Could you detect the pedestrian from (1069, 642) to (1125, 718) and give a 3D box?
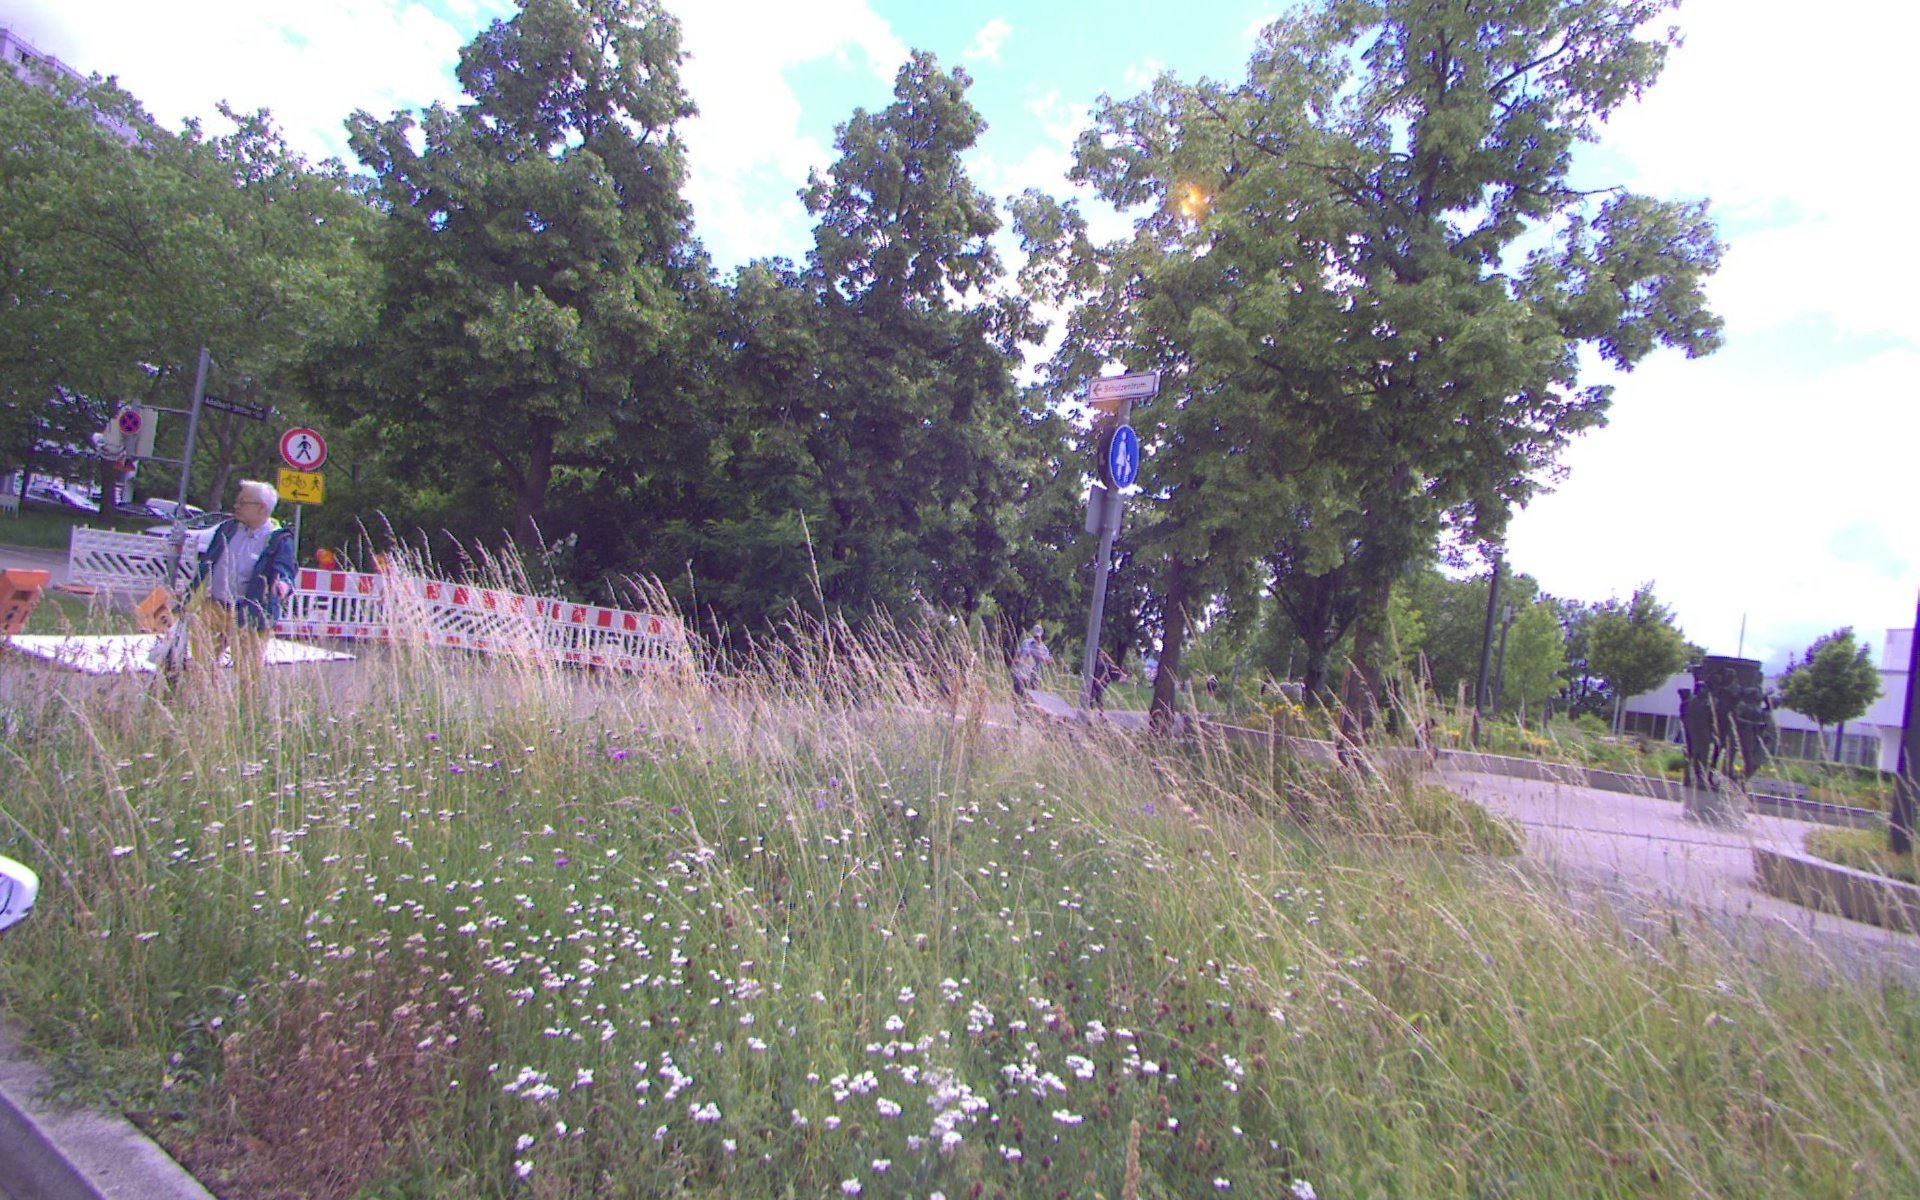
[{"bbox_3d":[3.259,1.904,23.903,0.879,1.647,0.817,8,-1,30],"label":"pedestrian"}]

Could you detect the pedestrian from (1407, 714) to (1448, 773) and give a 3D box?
[{"bbox_3d":[10.767,3.302,23.158,0.623,1.236,0.618,7,-1,36],"label":"pedestrian"}]

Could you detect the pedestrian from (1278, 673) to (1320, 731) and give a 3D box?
[{"bbox_3d":[12.898,3.879,38.252,1.137,2.037,0.817,8,0,30],"label":"pedestrian"}]

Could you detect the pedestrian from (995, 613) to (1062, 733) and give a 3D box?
[{"bbox_3d":[1.147,1.206,16.782,0.757,1.862,0.765,7,-1,15],"label":"pedestrian"}]

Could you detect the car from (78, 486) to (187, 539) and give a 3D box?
[{"bbox_3d":[-43.787,-4.610,53.288,3.926,2.037,2.001,8,-1,0],"label":"car"}]

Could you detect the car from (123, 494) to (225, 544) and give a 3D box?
[{"bbox_3d":[-44.242,-4.537,56.691,3.926,2.037,2.001,8,-1,0],"label":"car"}]

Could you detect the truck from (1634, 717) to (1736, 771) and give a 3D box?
[{"bbox_3d":[37.319,7.385,51.922,1.965,2.037,3.999,8,-1,-4],"label":"truck"}]

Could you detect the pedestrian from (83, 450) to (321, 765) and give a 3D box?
[{"bbox_3d":[-4.821,0.057,6.507,0.939,1.795,1.005,8,-1,-31],"label":"pedestrian"}]

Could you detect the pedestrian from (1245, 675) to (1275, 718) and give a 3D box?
[{"bbox_3d":[12.644,4.061,42.403,0.872,1.681,0.817,8,-1,30],"label":"pedestrian"}]

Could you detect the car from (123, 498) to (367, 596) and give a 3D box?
[{"bbox_3d":[-19.717,-1.391,28.052,1.915,1.895,5.090,7,-2,28],"label":"car"}]

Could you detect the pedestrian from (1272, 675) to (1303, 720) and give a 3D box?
[{"bbox_3d":[13.629,4.071,41.879,0.879,1.732,0.817,8,-1,30],"label":"pedestrian"}]

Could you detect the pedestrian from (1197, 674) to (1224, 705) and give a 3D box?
[{"bbox_3d":[14.161,5.071,56.962,1.135,1.571,0.818,8,-1,-2],"label":"pedestrian"}]

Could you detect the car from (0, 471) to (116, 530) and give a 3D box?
[{"bbox_3d":[-43.693,-4.785,48.572,3.926,2.037,2.001,8,-1,0],"label":"car"}]
